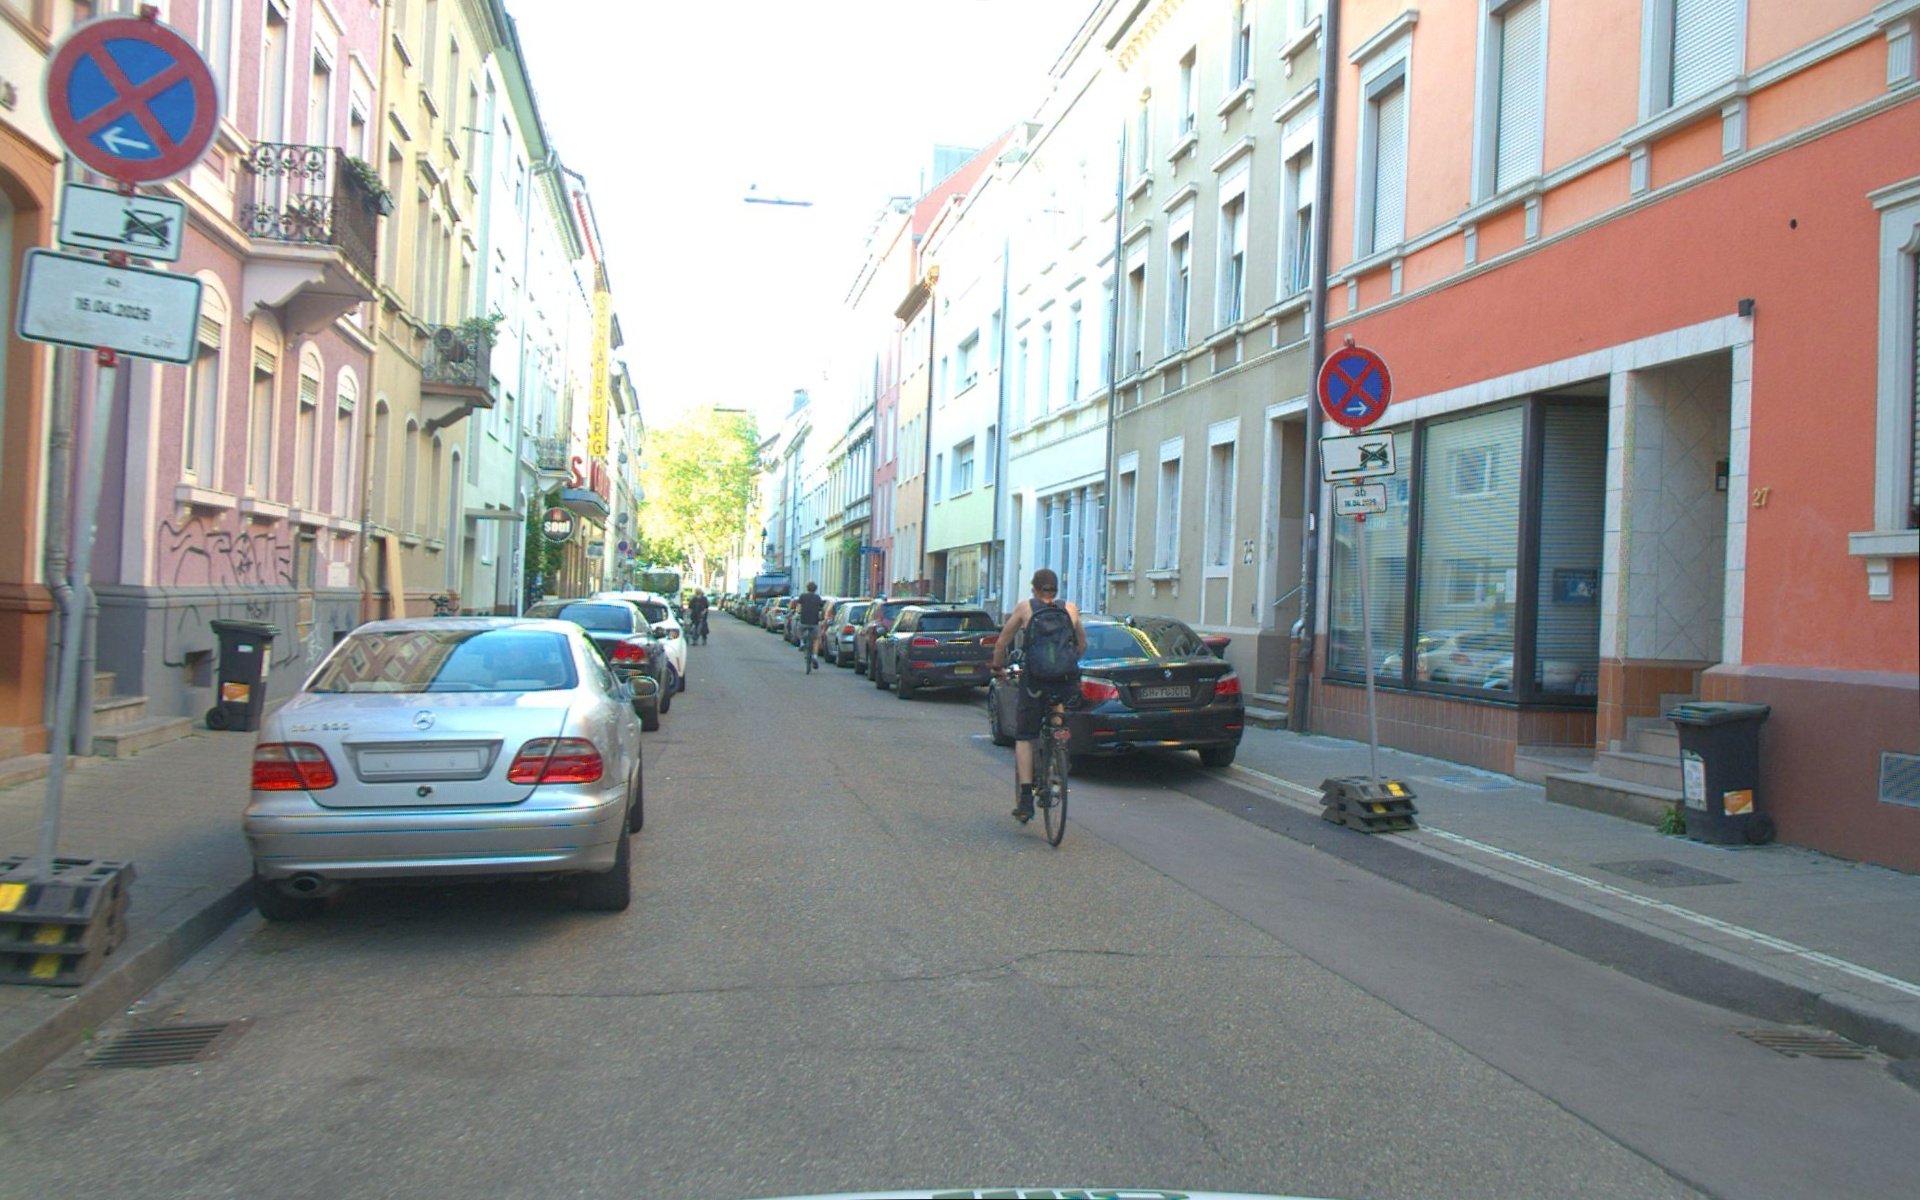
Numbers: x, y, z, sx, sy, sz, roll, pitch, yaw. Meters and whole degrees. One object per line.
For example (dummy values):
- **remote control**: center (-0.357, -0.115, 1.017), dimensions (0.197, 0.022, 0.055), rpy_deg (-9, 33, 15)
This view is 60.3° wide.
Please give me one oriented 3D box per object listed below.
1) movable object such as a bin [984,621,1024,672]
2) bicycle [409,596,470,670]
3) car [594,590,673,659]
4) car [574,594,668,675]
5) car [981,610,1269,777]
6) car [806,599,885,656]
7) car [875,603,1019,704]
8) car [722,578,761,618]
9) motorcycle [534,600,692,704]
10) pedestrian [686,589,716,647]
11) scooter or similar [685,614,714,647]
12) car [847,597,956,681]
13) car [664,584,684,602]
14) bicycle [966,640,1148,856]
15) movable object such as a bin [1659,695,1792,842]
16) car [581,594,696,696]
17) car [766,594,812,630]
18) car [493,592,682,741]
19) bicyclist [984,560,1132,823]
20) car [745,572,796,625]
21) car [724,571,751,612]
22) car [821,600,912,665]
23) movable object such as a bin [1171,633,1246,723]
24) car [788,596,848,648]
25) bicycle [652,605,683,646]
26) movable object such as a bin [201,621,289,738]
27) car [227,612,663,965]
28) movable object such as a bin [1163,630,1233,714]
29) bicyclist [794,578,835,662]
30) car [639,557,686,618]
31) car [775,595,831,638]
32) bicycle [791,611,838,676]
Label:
- **movable object such as a bin**: center (0.964, 1.015, 36.309), dimensions (0.791, 1.094, 0.677), rpy_deg (-1, 0, -5)
- **bicycle**: center (-8.389, 0.518, 26.707), dimensions (0.582, 1.108, 2.074), rpy_deg (3, -1, -9)
- **car**: center (-7.287, 0.528, 37.203), dimensions (1.641, 1.467, 3.745), rpy_deg (0, 0, -10)
- **car**: center (-6.431, 0.627, 31.668), dimensions (1.641, 1.467, 3.759), rpy_deg (0, 0, -10)
- **car**: center (1.518, 0.842, 17.126), dimensions (1.783, 1.463, 4.779), rpy_deg (0, 0, -10)
- **car**: center (-3.027, 0.692, 43.142), dimensions (1.679, 1.407, 3.991), rpy_deg (0, 0, -10)
- **car**: center (-0.293, 0.825, 27.523), dimensions (1.784, 1.548, 3.991), rpy_deg (0, 0, -10)
- **car**: center (-14.545, -0.130, 109.786), dimensions (2.265, 2.582, 6.754), rpy_deg (0, 0, -10)
- **motorcycle**: center (-4.893, 0.706, 23.384), dimensions (2.122, 1.383, 0.535), rpy_deg (-1, 1, -28)
- **pedestrian**: center (-7.452, 0.515, 47.589), dimensions (0.756, 1.606, 0.898), rpy_deg (3, -1, -9)
- **scooter or similar**: center (-7.416, 0.871, 47.153), dimensions (0.756, 0.888, 0.769), rpy_deg (3, -1, -9)
- **car**: center (-1.239, 0.737, 33.271), dimensions (1.679, 1.583, 3.991), rpy_deg (0, 0, -10)
- **car**: center (-24.222, -0.561, 139.975), dimensions (1.641, 1.467, 4.155), rpy_deg (0, 0, -10)
- **bicycle**: center (0.604, 0.943, 11.348), dimensions (0.689, 1.229, 2.337), rpy_deg (3, 0, -9)
- **movable object such as a bin**: center (5.175, 1.128, 11.205), dimensions (0.586, 0.922, 0.578), rpy_deg (-1, 0, -11)
- **car**: center (-5.023, 0.658, 26.148), dimensions (1.641, 1.467, 4.155), rpy_deg (0, 0, -10)
- **car**: center (-7.209, 0.512, 69.444), dimensions (1.679, 1.473, 3.991), rpy_deg (0, 0, -10)
- **car**: center (-4.171, 0.673, 19.085), dimensions (1.678, 1.407, 4.349), rpy_deg (2, 1, -7)
- **bicyclist**: center (0.641, 0.591, 11.205), dimensions (0.689, 1.661, 1.088), rpy_deg (3, 0, -10)
- **car**: center (-9.771, -0.061, 84.847), dimensions (2.265, 2.582, 6.754), rpy_deg (0, 0, -10)
- **car**: center (-21.089, -0.777, 156.641), dimensions (2.265, 3.834, 6.754), rpy_deg (0, 0, -10)
- **car**: center (-2.221, 0.716, 38.284), dimensions (1.679, 1.407, 3.991), rpy_deg (0, 0, -10)
- **movable object such as a bin**: center (3.163, 0.981, 21.088), dimensions (0.724, 1.094, 0.674), rpy_deg (-1, 0, -16)
- **car**: center (-4.580, 0.688, 52.853), dimensions (1.591, 1.577, 3.991), rpy_deg (0, 0, -10)
- **bicycle**: center (-8.480, 0.735, 47.943), dimensions (0.687, 1.125, 2.267), rpy_deg (3, -1, -13)
- **movable object such as a bin**: center (-6.148, 0.676, 14.235), dimensions (0.533, 0.961, 0.486), rpy_deg (3, -1, -9)
- **car**: center (-2.501, 0.775, 9.036), dimensions (1.679, 1.407, 4.495), rpy_deg (0, 0, -10)
- **movable object such as a bin**: center (3.192, 0.961, 22.222), dimensions (0.791, 1.094, 0.677), rpy_deg (-1, 0, -5)
- **bicyclist**: center (-2.908, 0.393, 33.043), dimensions (0.689, 1.633, 0.811), rpy_deg (2, -1, -10)
- **car**: center (-13.127, -0.550, 72.869), dimensions (1.876, 2.540, 4.153), rpy_deg (1, 0, -12)
- **car**: center (-5.528, 0.563, 57.817), dimensions (1.679, 1.418, 3.991), rpy_deg (0, 0, -10)
- **bicycle**: center (-2.929, 0.848, 33.118), dimensions (0.689, 1.229, 2.336), rpy_deg (2, 0, -10)
